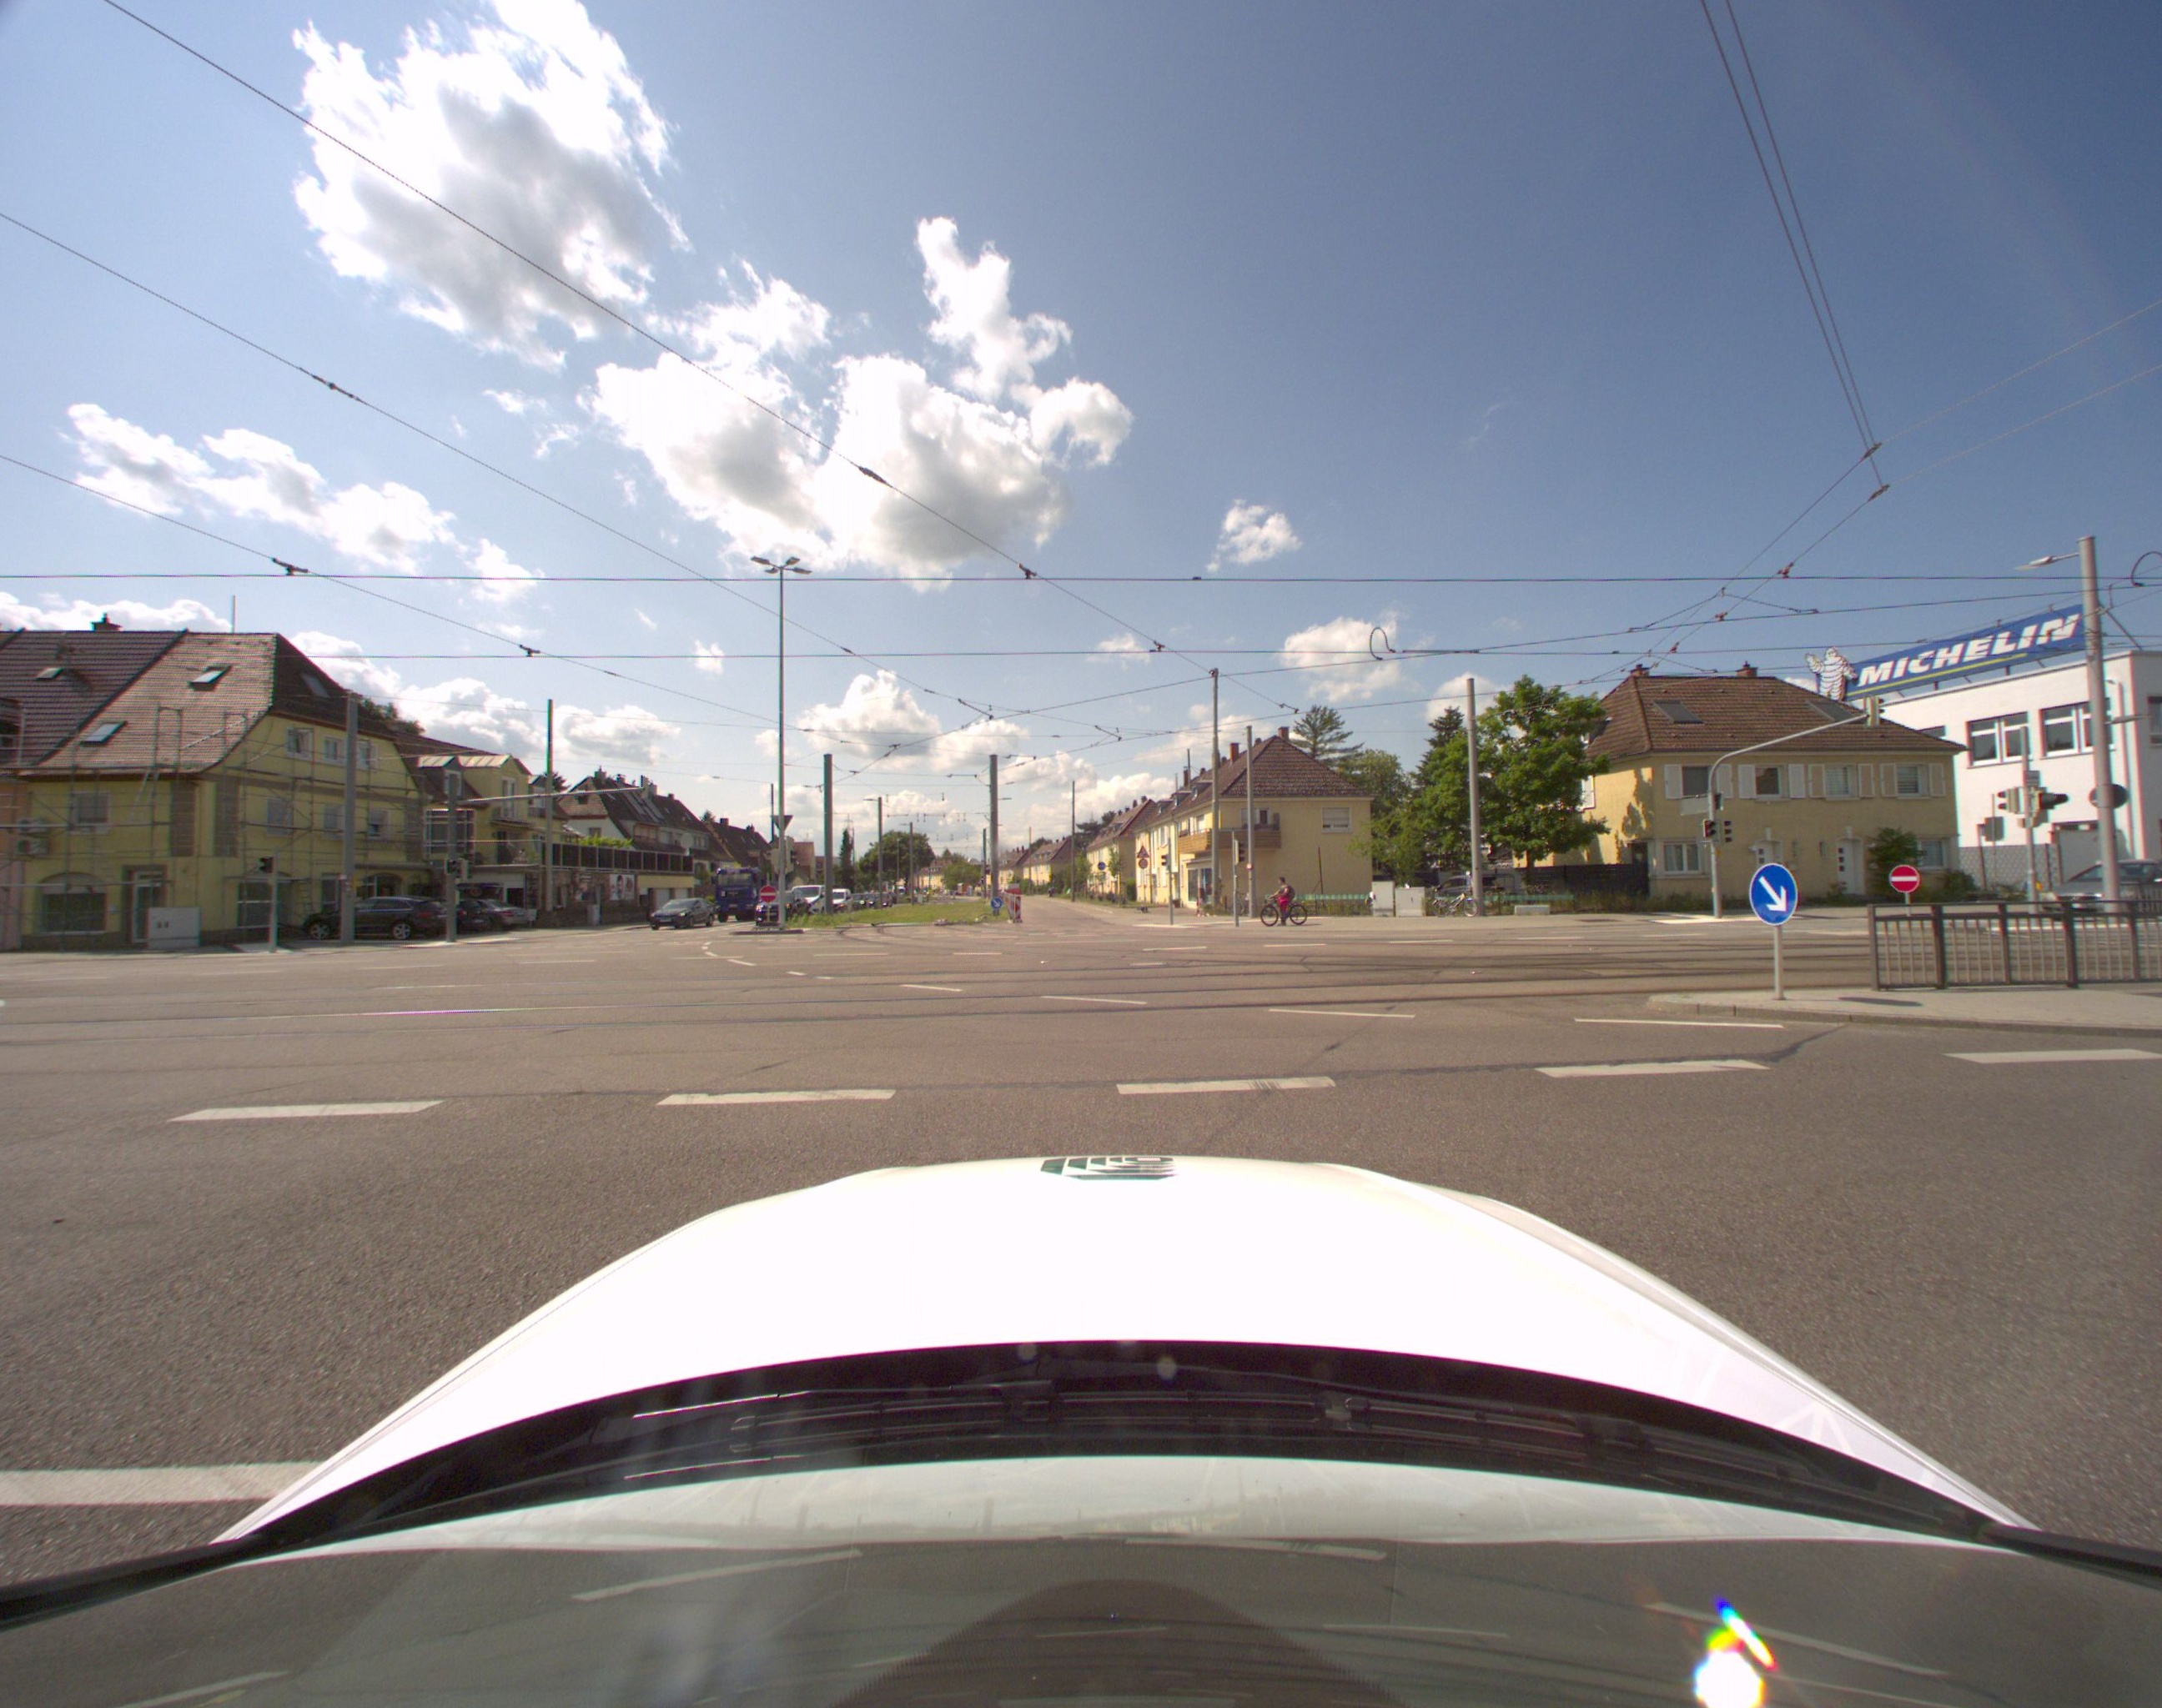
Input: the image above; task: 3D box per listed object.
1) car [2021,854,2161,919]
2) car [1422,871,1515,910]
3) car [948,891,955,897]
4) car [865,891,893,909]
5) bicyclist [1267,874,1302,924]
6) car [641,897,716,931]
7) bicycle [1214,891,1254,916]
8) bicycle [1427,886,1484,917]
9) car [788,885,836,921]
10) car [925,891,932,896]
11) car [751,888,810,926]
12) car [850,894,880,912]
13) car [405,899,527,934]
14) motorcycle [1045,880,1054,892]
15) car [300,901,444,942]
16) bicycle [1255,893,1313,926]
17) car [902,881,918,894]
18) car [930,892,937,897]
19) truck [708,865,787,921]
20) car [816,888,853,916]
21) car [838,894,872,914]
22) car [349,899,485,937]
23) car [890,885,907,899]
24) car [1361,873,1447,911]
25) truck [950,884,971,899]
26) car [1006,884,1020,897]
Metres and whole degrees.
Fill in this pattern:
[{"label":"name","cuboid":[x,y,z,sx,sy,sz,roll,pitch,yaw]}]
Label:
[{"label":"car","cuboid":[27.206,0.796,20.941,3.976,1.568,1.840,-1,-2,-2]},{"label":"car","cuboid":[17.527,1.687,37.029,1.822,1.621,3.986,-1,-3,-9]},{"label":"car","cuboid":[-33.581,10.369,211.317,1.263,1.427,2.644,0,-3,-23]},{"label":"car","cuboid":[-18.823,4.264,76.128,1.841,1.494,4.844,-1,-2,-7]},{"label":"bicyclist","cuboid":[7.368,1.618,29.516,0.962,1.775,0.713,0,-3,-26]},{"label":"car","cuboid":[-19.596,2.882,39.829,1.825,1.487,4.325,-1,-2,-5]},{"label":"bicycle","cuboid":[7.054,2.291,37.606,0.596,1.096,2.257,0,-3,-25]},{"label":"bicycle","cuboid":[14.051,1.768,30.543,1.785,1.105,0.707,-3,-3,39]},{"label":"car","cuboid":[-15.692,2.830,47.751,1.813,1.922,4.734,-1,-2,-8]},{"label":"car","cuboid":[-44.051,11.504,234.556,1.264,1.427,2.642,0,-3,-27]},{"label":"car","cuboid":[-15.177,2.640,41.342,1.784,1.721,4.430,-1,-2,-6]},{"label":"car","cuboid":[-18.355,4.155,69.353,1.842,1.413,4.902,-1,-2,-8]},{"label":"car","cuboid":[-27.670,2.793,36.718,4.132,1.494,1.430,1,-2,-8]},{"label":"motorcycle","cuboid":[-4.455,4.543,113.977,1.066,1.636,2.077,-1,-2,-8]},{"label":"car","cuboid":[-27.205,2.586,31.338,4.132,1.494,1.176,1,-2,-8]},{"label":"bicycle","cuboid":[7.365,1.984,29.494,2.038,1.102,0.709,0,-3,-27]},{"label":"car","cuboid":[-31.402,6.152,149.276,2.412,2.371,4.850,-1,-2,-17]},{"label":"car","cuboid":[-41.846,11.390,231.059,1.263,1.427,2.643,0,-3,-25]},{"label":"truck","cuboid":[-20.860,2.465,51.442,2.766,3.189,7.560,-1,-2,-8]},{"label":"car","cuboid":[-16.796,3.211,55.604,1.732,1.782,4.392,-1,-2,-8]},{"label":"car","cuboid":[-17.239,3.778,62.207,1.913,1.419,3.988,-1,-2,-8]},{"label":"car","cuboid":[-27.646,2.671,34.009,4.132,1.494,1.503,1,-2,-8]},{"label":"car","cuboid":[-30.721,6.380,137.092,2.412,2.339,4.850,-1,-3,-17]},{"label":"car","cuboid":[14.724,1.759,37.375,1.822,1.621,3.986,-1,-3,-9]},{"label":"truck","cuboid":[-29.443,9.134,199.050,2.652,3.495,9.362,0,-3,-23]},{"label":"car","cuboid":[-11.647,6.260,138.979,2.065,2.149,4.861,-1,-2,-9]}]
